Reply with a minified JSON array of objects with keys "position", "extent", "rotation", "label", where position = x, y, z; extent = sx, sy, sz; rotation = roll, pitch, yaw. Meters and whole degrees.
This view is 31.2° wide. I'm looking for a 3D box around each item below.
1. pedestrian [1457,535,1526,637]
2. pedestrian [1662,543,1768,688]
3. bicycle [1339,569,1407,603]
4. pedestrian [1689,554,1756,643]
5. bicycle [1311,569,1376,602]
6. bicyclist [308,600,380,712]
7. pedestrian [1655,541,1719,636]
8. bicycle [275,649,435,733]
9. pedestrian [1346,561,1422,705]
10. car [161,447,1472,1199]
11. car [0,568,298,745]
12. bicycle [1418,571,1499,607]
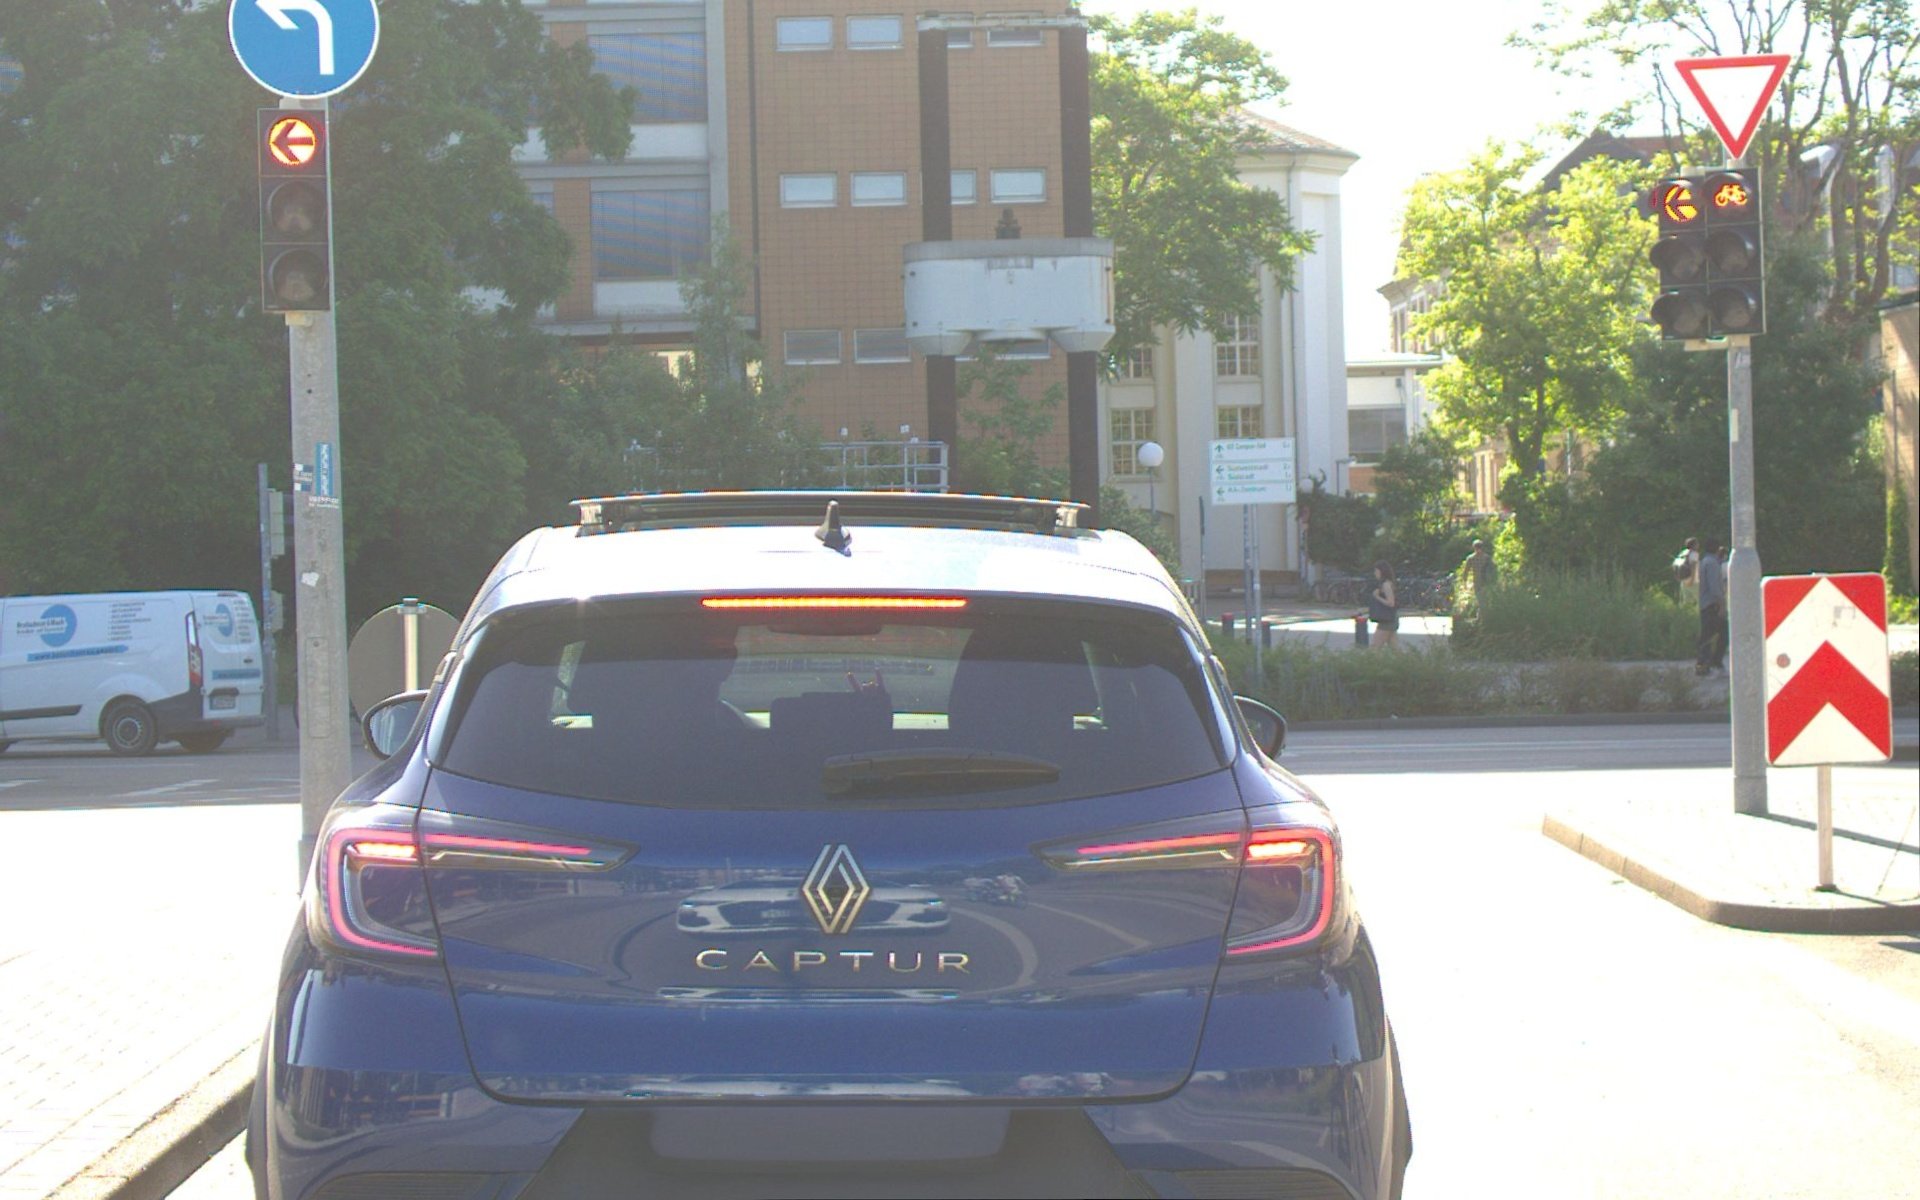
[{"position":[10.631,-0.288,68.847],"extent":[1.156,2.007,1.164],"rotation":[-1,1,0],"label":"pedestrian"},{"position":[9.864,0.194,44.979],"extent":[1.298,1.849,0.965],"rotation":[-1,1,11],"label":"pedestrian"},{"position":[11.401,-0.393,94.836],"extent":[1.771,0.895,0.765],"rotation":[-1,1,0],"label":"bicycle"},{"position":[14.134,-0.037,63.748],"extent":[0.936,1.607,1.176],"rotation":[-1,1,0],"label":"pedestrian"},{"position":[11.062,-0.425,99.200],"extent":[1.771,0.890,0.765],"rotation":[-1,1,0],"label":"bicycle"},{"position":[-7.886,0.720,44.014],"extent":[0.637,1.407,0.649],"rotation":[-1,-2,-37],"label":"bicyclist"},{"position":[13.608,-0.220,64.399],"extent":[0.953,1.735,0.984],"rotation":[-1,1,0],"label":"pedestrian"},{"position":[-7.755,1.162,44.093],"extent":[1.862,1.004,0.700],"rotation":[-1,-2,-36],"label":"bicycle"},{"position":[5.575,0.424,45.143],"extent":[0.932,1.849,0.807],"rotation":[-1,1,9],"label":"pedestrian"},{"position":[-0.248,0.584,6.655],"extent":[1.794,1.649,3.853],"rotation":[0,1,-2],"label":"car"},{"position":[-10.746,0.677,41.413],"extent":[5.002,2.007,2.071],"rotation":[-1,1,15],"label":"car"},{"position":[12.032,-0.274,83.035],"extent":[1.770,0.820,0.766],"rotation":[-1,1,-10],"label":"bicycle"}]
